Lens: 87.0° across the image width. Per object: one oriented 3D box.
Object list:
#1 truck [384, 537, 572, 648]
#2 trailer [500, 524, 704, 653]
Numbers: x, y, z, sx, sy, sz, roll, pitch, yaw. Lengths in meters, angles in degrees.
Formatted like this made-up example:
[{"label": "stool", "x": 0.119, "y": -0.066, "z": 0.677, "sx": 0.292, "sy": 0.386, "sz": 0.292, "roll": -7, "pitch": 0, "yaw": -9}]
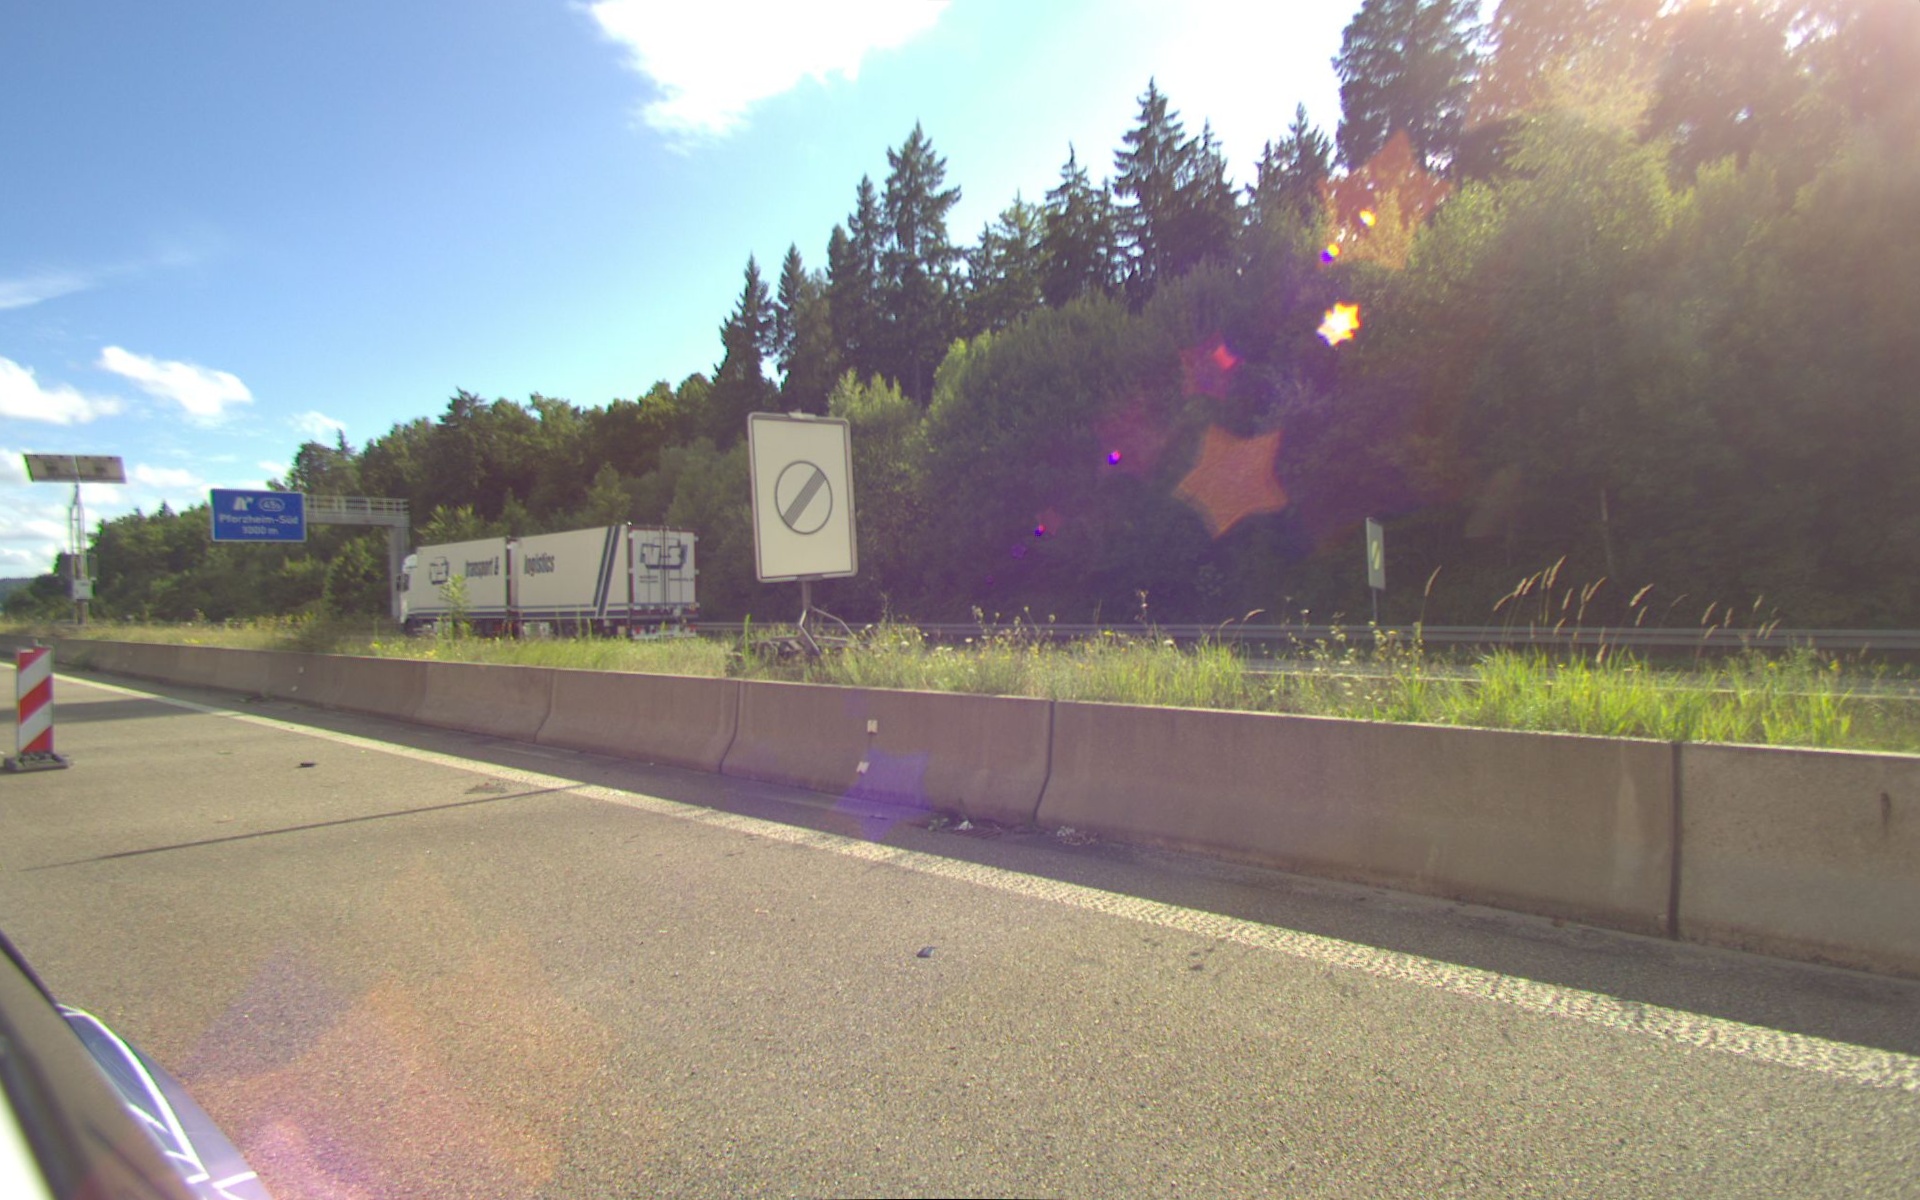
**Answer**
[{"label": "truck", "x": -19.855, "y": -0.229, "z": 41.221, "sx": 10.855, "sy": 4.015, "sz": 2.754, "roll": -1, "pitch": 0, "yaw": 41}, {"label": "trailer", "x": -12.501, "y": -0.317, "z": 34.871, "sx": 8.483, "sy": 3.953, "sz": 2.762, "roll": -1, "pitch": 0, "yaw": 41}]
